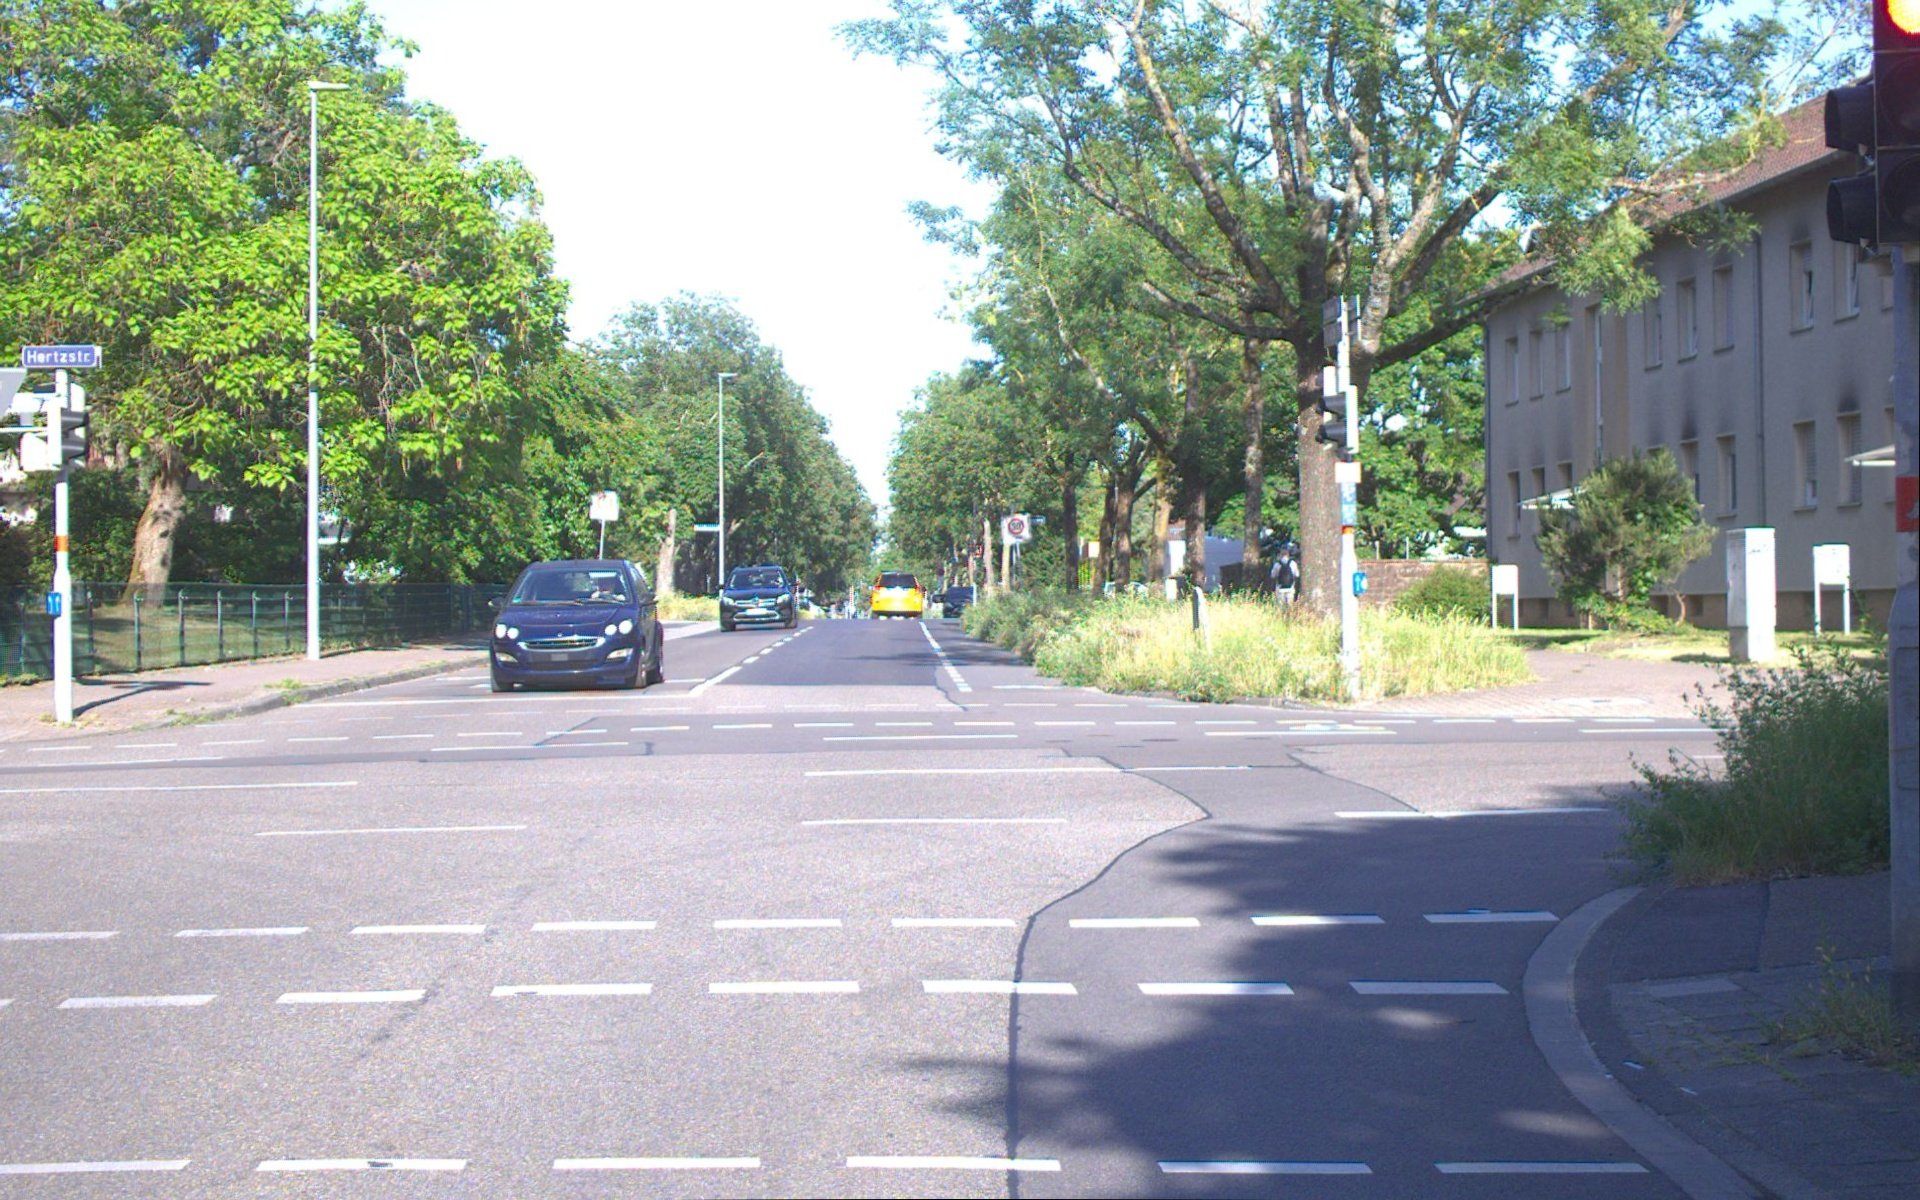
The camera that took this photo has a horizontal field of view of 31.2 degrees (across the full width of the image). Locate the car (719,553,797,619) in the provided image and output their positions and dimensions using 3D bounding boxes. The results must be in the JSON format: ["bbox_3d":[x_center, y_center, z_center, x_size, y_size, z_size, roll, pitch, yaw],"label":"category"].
[{"bbox_3d":[-5.117,-0.375,87.245,1.758,1.619,3.268,0,1,0],"label":"car"}]

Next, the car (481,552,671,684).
[{"bbox_3d":[-4.270,0.172,38.617,1.711,1.381,3.471,0,1,0],"label":"car"}]

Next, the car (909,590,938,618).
[{"bbox_3d":[-2.320,0.234,219.241,1.773,1.748,4.000,1,0,0],"label":"car"}]

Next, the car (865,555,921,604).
[{"bbox_3d":[-2.200,-0.694,113.620,1.751,1.577,4.000,1,0,0],"label":"car"}]

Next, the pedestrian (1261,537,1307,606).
[{"bbox_3d":[7.074,-0.624,75.094,0.842,1.488,0.924,2,1,-1],"label":"pedestrian"}]
